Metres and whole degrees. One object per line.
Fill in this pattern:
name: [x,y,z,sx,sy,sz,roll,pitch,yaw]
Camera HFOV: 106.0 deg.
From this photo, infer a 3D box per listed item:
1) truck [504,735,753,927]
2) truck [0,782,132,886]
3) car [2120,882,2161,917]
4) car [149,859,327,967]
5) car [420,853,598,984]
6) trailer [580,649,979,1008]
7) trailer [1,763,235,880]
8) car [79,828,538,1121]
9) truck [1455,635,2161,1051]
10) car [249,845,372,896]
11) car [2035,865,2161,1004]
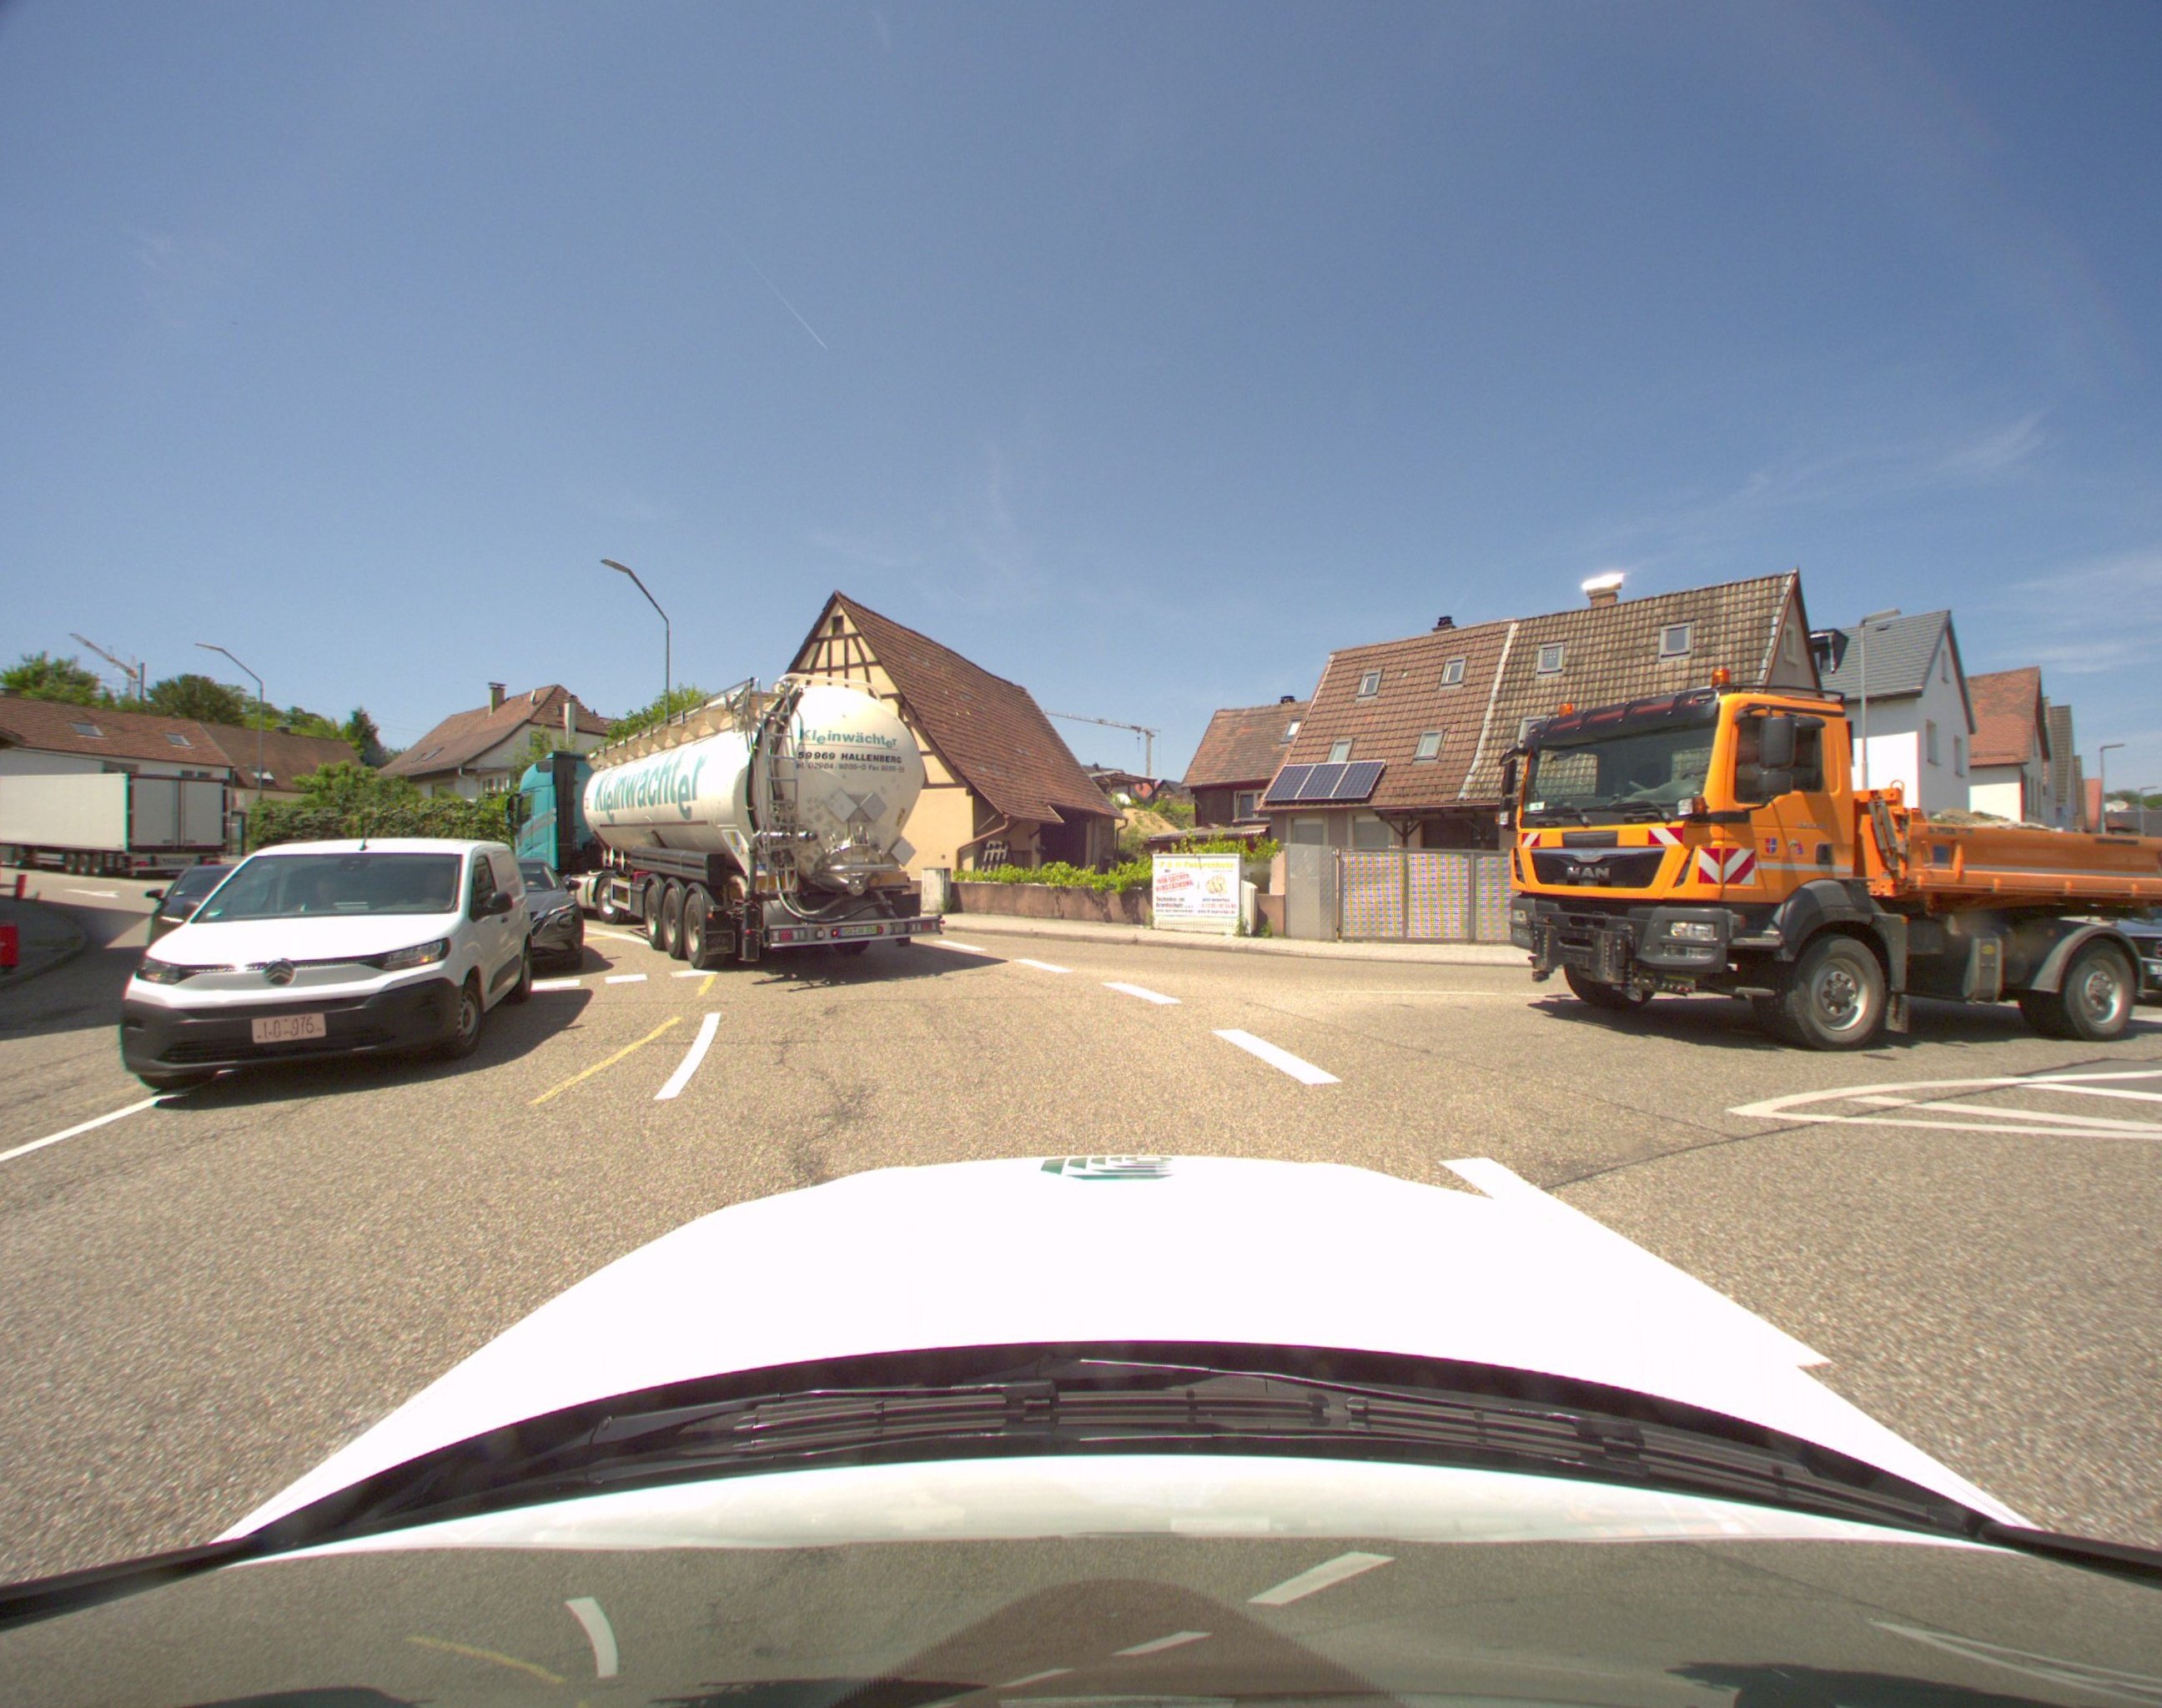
truck: [-10.973,-0.483,19.660,5.507,3.965,3.016,1,-1,34]
truck: [-46.603,-0.836,36.838,5.862,4.401,3.132,1,-1,24]
car: [52.506,2.188,39.706,4.011,1.596,1.707,1,-1,-30]
car: [-14.005,0.848,13.562,3.950,1.442,1.854,1,1,43]
car: [-8.426,0.785,11.848,1.807,1.524,3.954,1,0,-39]
trailer: [-6.169,-0.292,14.348,2.977,3.948,11.484,1,-1,-39]
trailer: [-40.071,-1.199,33.729,12.340,4.277,3.160,0,0,25]
car: [-6.332,0.730,7.400,1.884,1.785,4.480,0,0,-28]
truck: [7.978,0.068,8.456,7.449,3.181,2.656,2,-2,-15]
car: [-25.176,0.533,26.615,3.560,1.585,1.798,0,-2,27]
car: [15.090,1.063,10.758,4.315,1.675,1.985,2,-1,-22]
